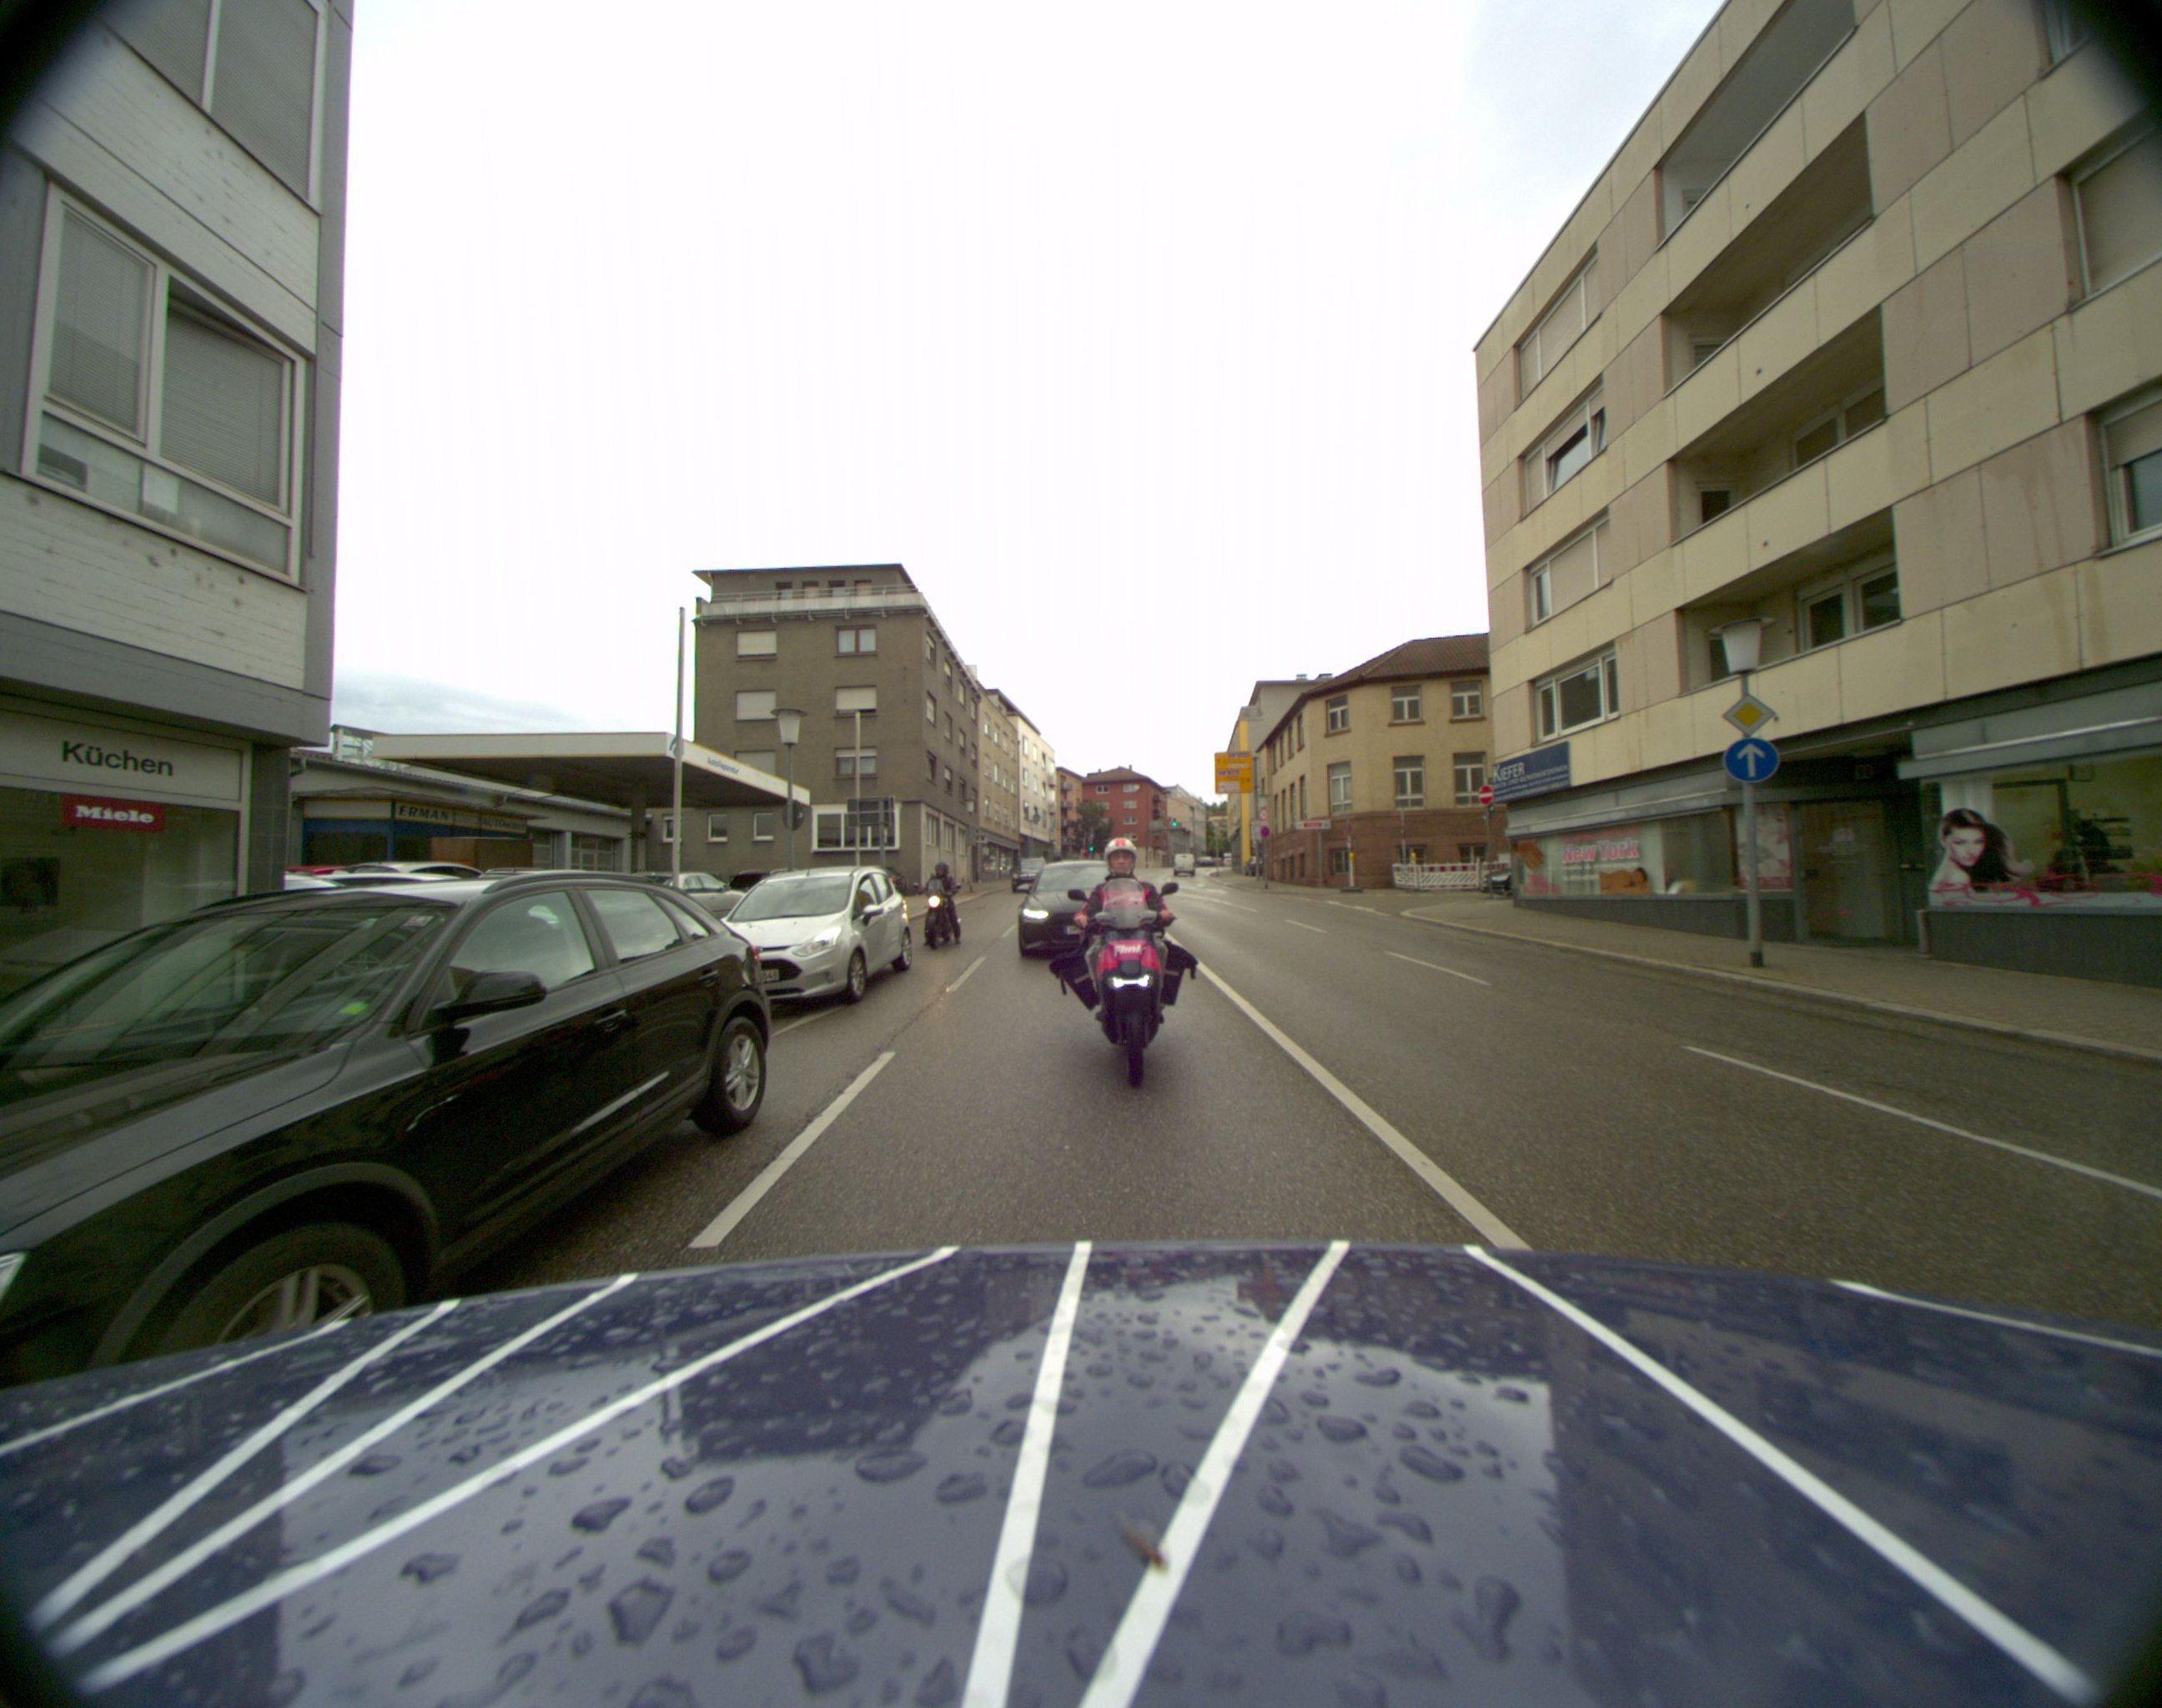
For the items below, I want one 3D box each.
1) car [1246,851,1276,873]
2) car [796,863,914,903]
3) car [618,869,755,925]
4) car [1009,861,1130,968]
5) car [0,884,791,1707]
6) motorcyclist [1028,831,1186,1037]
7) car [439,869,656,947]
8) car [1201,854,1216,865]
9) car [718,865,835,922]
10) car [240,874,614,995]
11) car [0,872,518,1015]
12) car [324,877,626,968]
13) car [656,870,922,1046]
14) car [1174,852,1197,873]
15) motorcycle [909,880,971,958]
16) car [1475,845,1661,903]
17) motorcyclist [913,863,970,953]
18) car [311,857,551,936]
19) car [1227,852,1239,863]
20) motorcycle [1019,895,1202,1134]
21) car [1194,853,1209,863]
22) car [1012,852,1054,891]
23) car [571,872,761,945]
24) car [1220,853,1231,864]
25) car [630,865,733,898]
[{"bbox_3d":[13.325,0.596,56.448,1.861,1.445,3.966,-4,-1,10],"label":"car"},{"bbox_3d":[-10.037,1.285,33.930,4.531,1.495,2.001,-3,0,4],"label":"car"},{"bbox_3d":[-12.050,1.256,23.580,1.793,1.502,4.420,2,-1,1],"label":"car"},{"bbox_3d":[-0.066,0.914,13.388,1.705,1.451,4.319,-3,0,3],"label":"car"},{"bbox_3d":[-2.927,1.028,2.948,1.827,1.551,4.201,-4,0,1],"label":"car"},{"bbox_3d":[0.199,0.560,5.705,1.010,1.373,0.835,-4,0,2],"label":"motorcyclist"},{"bbox_3d":[-12.233,1.167,17.884,1.793,1.535,4.493,2,-1,1],"label":"car"},{"bbox_3d":[17.345,0.710,103.475,1.861,1.445,4.321,-1,0,8],"label":"car"},{"bbox_3d":[-9.439,1.168,23.982,1.793,1.503,4.437,-1,0,1],"label":"car"},{"bbox_3d":[-9.812,1.142,11.797,4.002,1.521,1.761,-1,0,-15],"label":"car"},{"bbox_3d":[-9.610,1.018,9.252,4.003,1.441,1.796,2,-1,-16],"label":"car"},{"bbox_3d":[-10.971,1.195,14.075,4.002,1.392,1.669,-1,0,-14],"label":"car"},{"bbox_3d":[-3.375,1.087,9.771,1.831,1.532,4.251,-5,0,-3],"label":"car"},{"bbox_3d":[8.951,0.704,65.506,1.865,1.793,4.268,0,0,6],"label":"car"},{"bbox_3d":[-2.631,1.173,14.457,0.847,1.219,2.372,-4,0,-4],"label":"motorcycle"},{"bbox_3d":[14.571,0.595,22.989,4.358,1.495,1.755,-3,0,11],"label":"car"},{"bbox_3d":[-2.630,1.001,14.419,0.847,1.580,0.962,-4,1,-5],"label":"motorcyclist"},{"bbox_3d":[-15.052,0.887,18.000,1.793,1.591,4.419,-1,0,1],"label":"car"},{"bbox_3d":[24.756,0.598,123.731,1.860,1.688,4.322,0,0,11],"label":"car"},{"bbox_3d":[0.236,1.037,5.884,1.010,1.218,2.694,-4,0,3],"label":"motorcycle"},{"bbox_3d":[17.806,0.629,111.855,1.860,1.445,4.322,-1,0,12],"label":"car"},{"bbox_3d":[-2.433,0.875,39.456,1.848,1.892,3.765,-1,0,1],"label":"car"},{"bbox_3d":[-9.615,1.182,18.129,1.792,1.407,4.616,0,0,3],"label":"car"},{"bbox_3d":[25.195,0.735,132.886,1.847,1.892,3.768,-1,0,10],"label":"car"},{"bbox_3d":[-18.090,1.246,34.522,3.751,1.445,1.795,0,-2,3],"label":"car"}]
